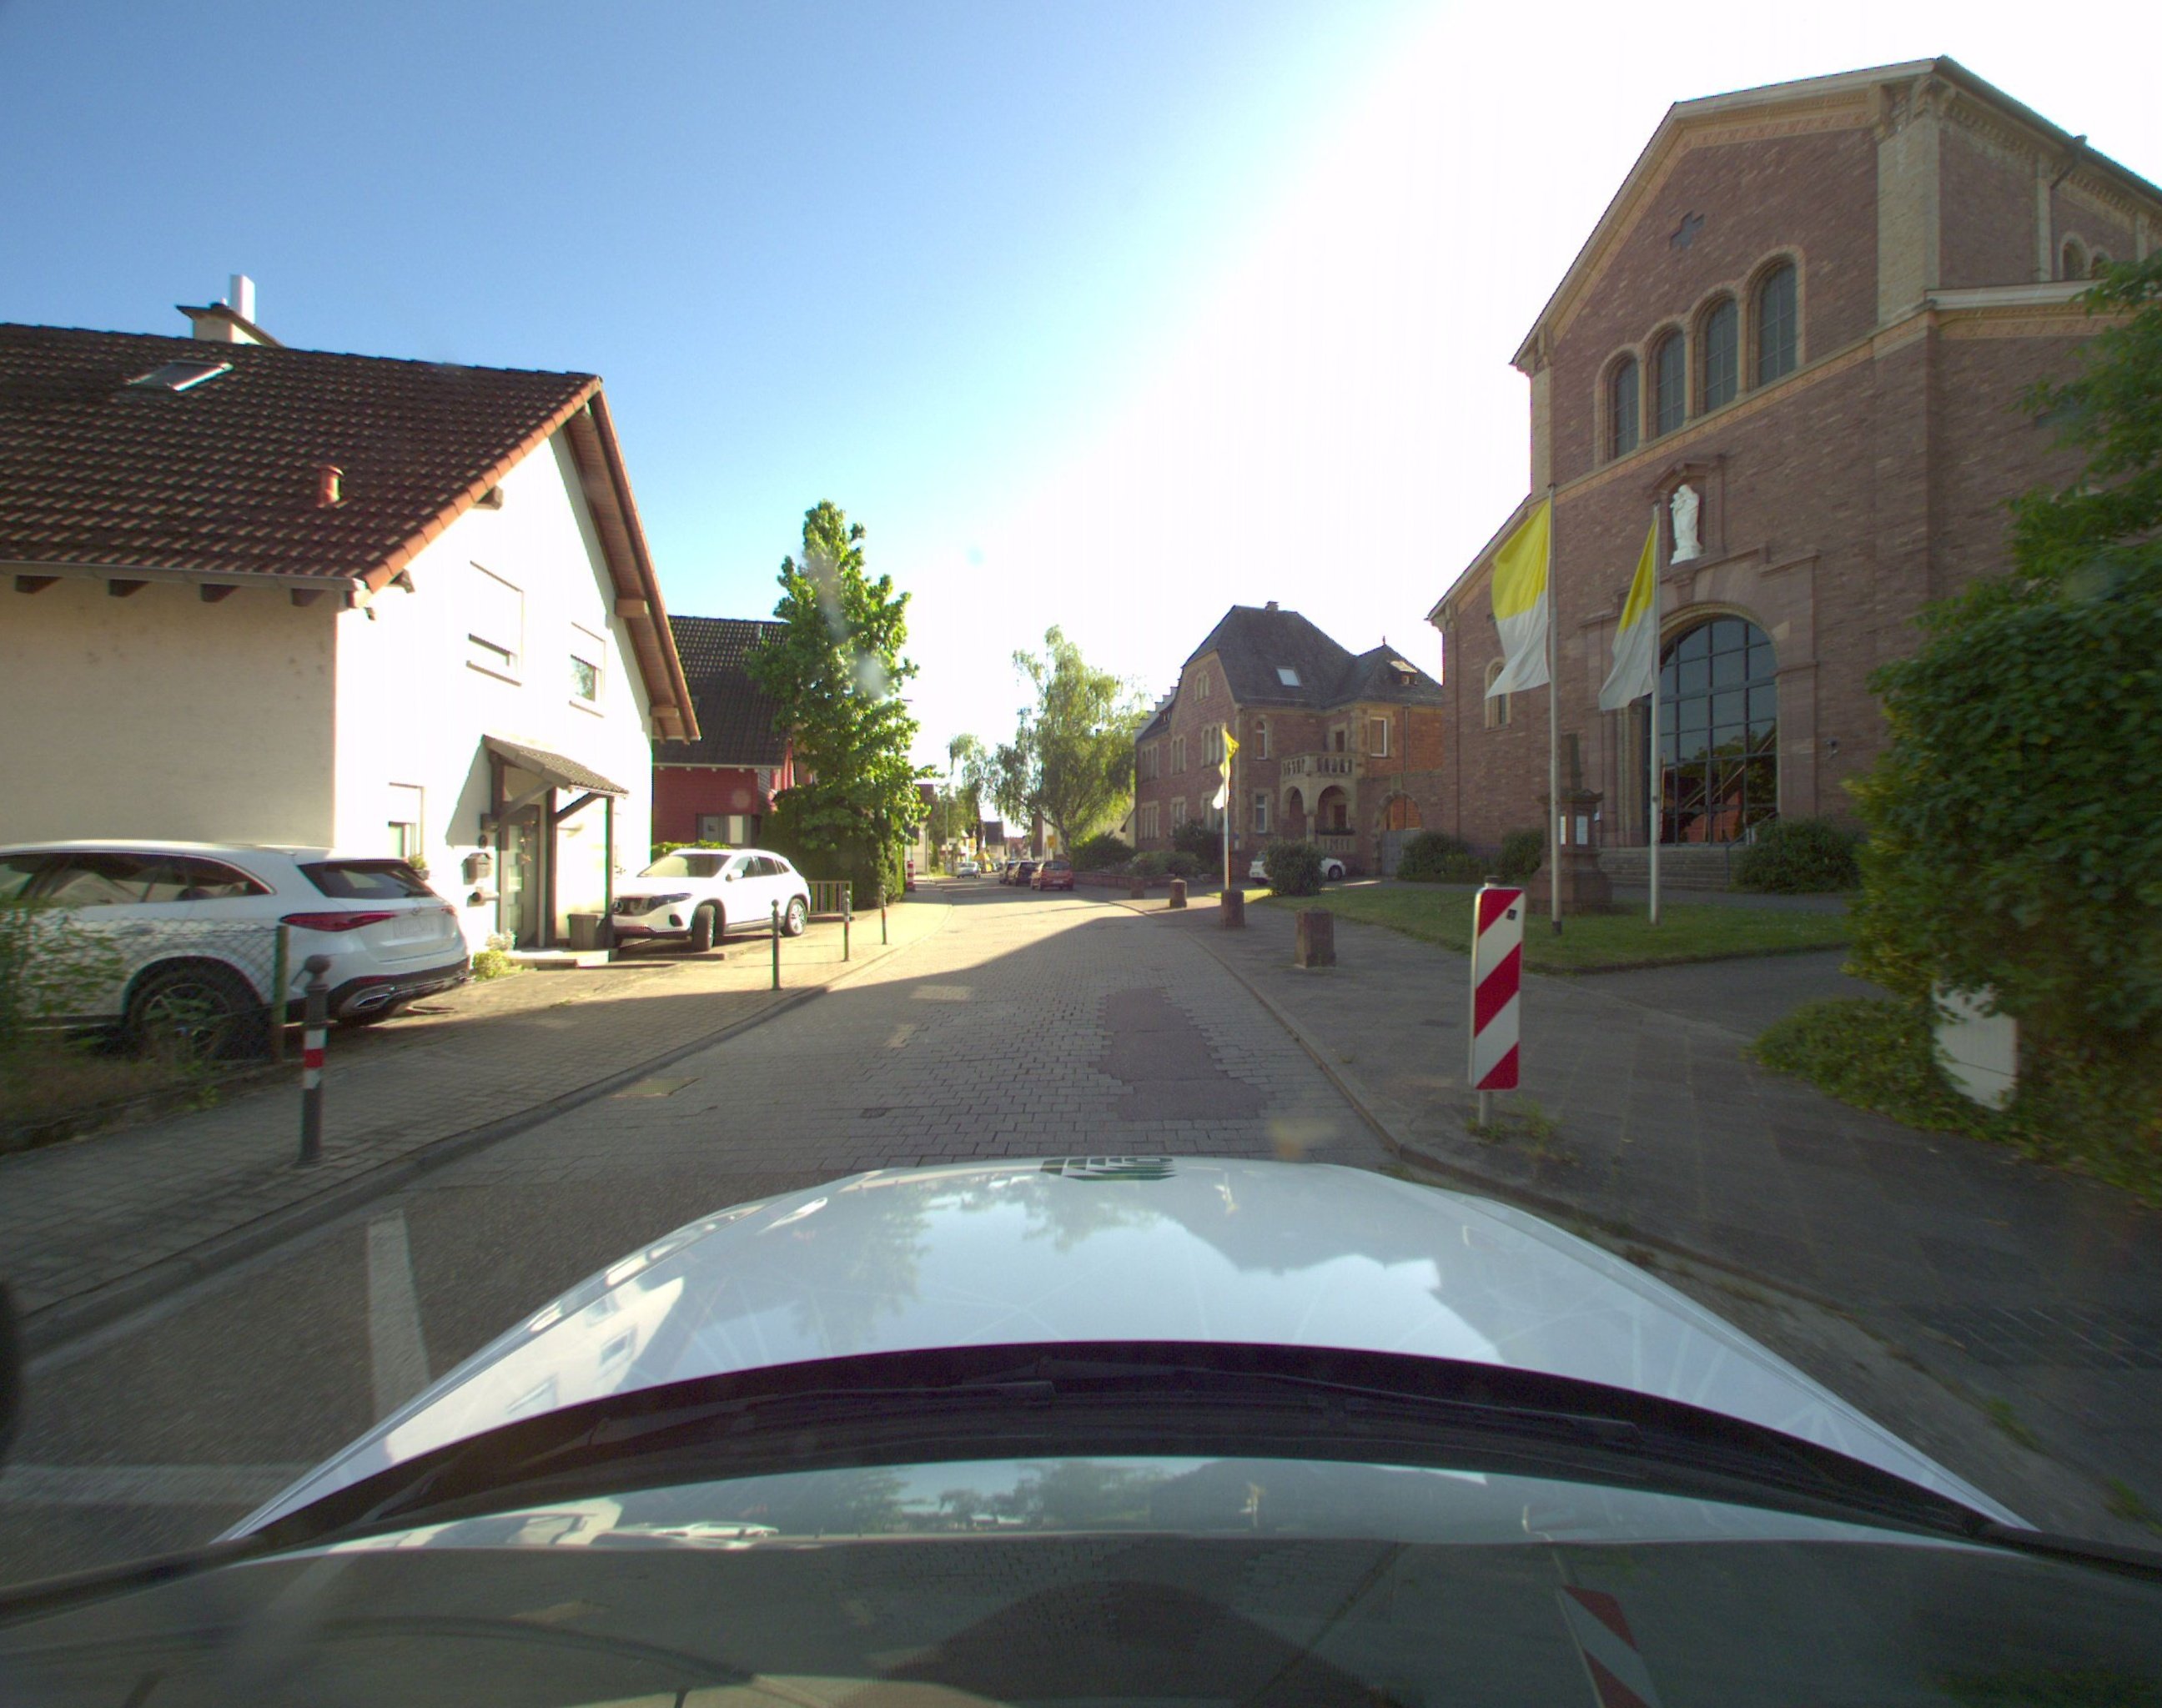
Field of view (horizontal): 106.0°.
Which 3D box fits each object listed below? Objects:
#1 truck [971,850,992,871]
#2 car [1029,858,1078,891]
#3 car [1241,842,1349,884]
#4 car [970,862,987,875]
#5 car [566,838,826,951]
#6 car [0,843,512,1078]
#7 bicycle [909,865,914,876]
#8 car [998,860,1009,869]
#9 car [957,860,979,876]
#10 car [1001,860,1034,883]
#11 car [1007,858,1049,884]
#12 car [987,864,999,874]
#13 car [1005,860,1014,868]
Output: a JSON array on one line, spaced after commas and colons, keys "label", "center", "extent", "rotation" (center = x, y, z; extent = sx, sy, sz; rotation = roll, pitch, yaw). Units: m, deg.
[{"label": "truck", "center": [-13.803, 0.969, 113.381], "extent": [2.261, 2.869, 5.780], "rotation": [0, -1, 0]}, {"label": "car", "center": [-1.391, 0.962, 39.696], "extent": [1.650, 1.479, 3.916], "rotation": [1, 0, -13]}, {"label": "car", "center": [8.919, 0.371, 34.006], "extent": [3.910, 1.496, 1.892], "rotation": [-3, -1, -19]}, {"label": "car", "center": [-13.575, 1.909, 107.864], "extent": [1.801, 1.622, 3.879], "rotation": [0, -1, 0]}, {"label": "car", "center": [-6.324, 0.603, 14.077], "extent": [1.806, 1.596, 4.456], "rotation": [1, 0, 9]}, {"label": "car", "center": [-7.413, 0.755, 6.655], "extent": [3.986, 1.589, 1.994], "rotation": [2, 0, -10]}, {"label": "bicycle", "center": [-17.040, 1.633, 81.820], "extent": [0.423, 1.052, 1.377], "rotation": [0, -2, -9]}, {"label": "car", "center": [-12.937, 1.736, 135.784], "extent": [1.585, 1.443, 3.610], "rotation": [1, -1, -3]}, {"label": "car", "center": [-10.045, 1.228, 72.687], "extent": [1.667, 1.402, 3.887], "rotation": [-1, 0, -4]}, {"label": "car", "center": [-4.159, 1.109, 52.536], "extent": [1.807, 1.436, 4.272], "rotation": [1, 0, -9]}, {"label": "car", "center": [-3.147, 0.991, 47.934], "extent": [1.809, 1.436, 4.266], "rotation": [1, 0, -13]}, {"label": "car", "center": [-13.179, 2.238, 122.476], "extent": [1.642, 1.433, 3.610], "rotation": [1, -1, -3]}, {"label": "car", "center": [-12.974, 1.848, 147.710], "extent": [1.585, 1.443, 3.610], "rotation": [1, -1, -3]}]
